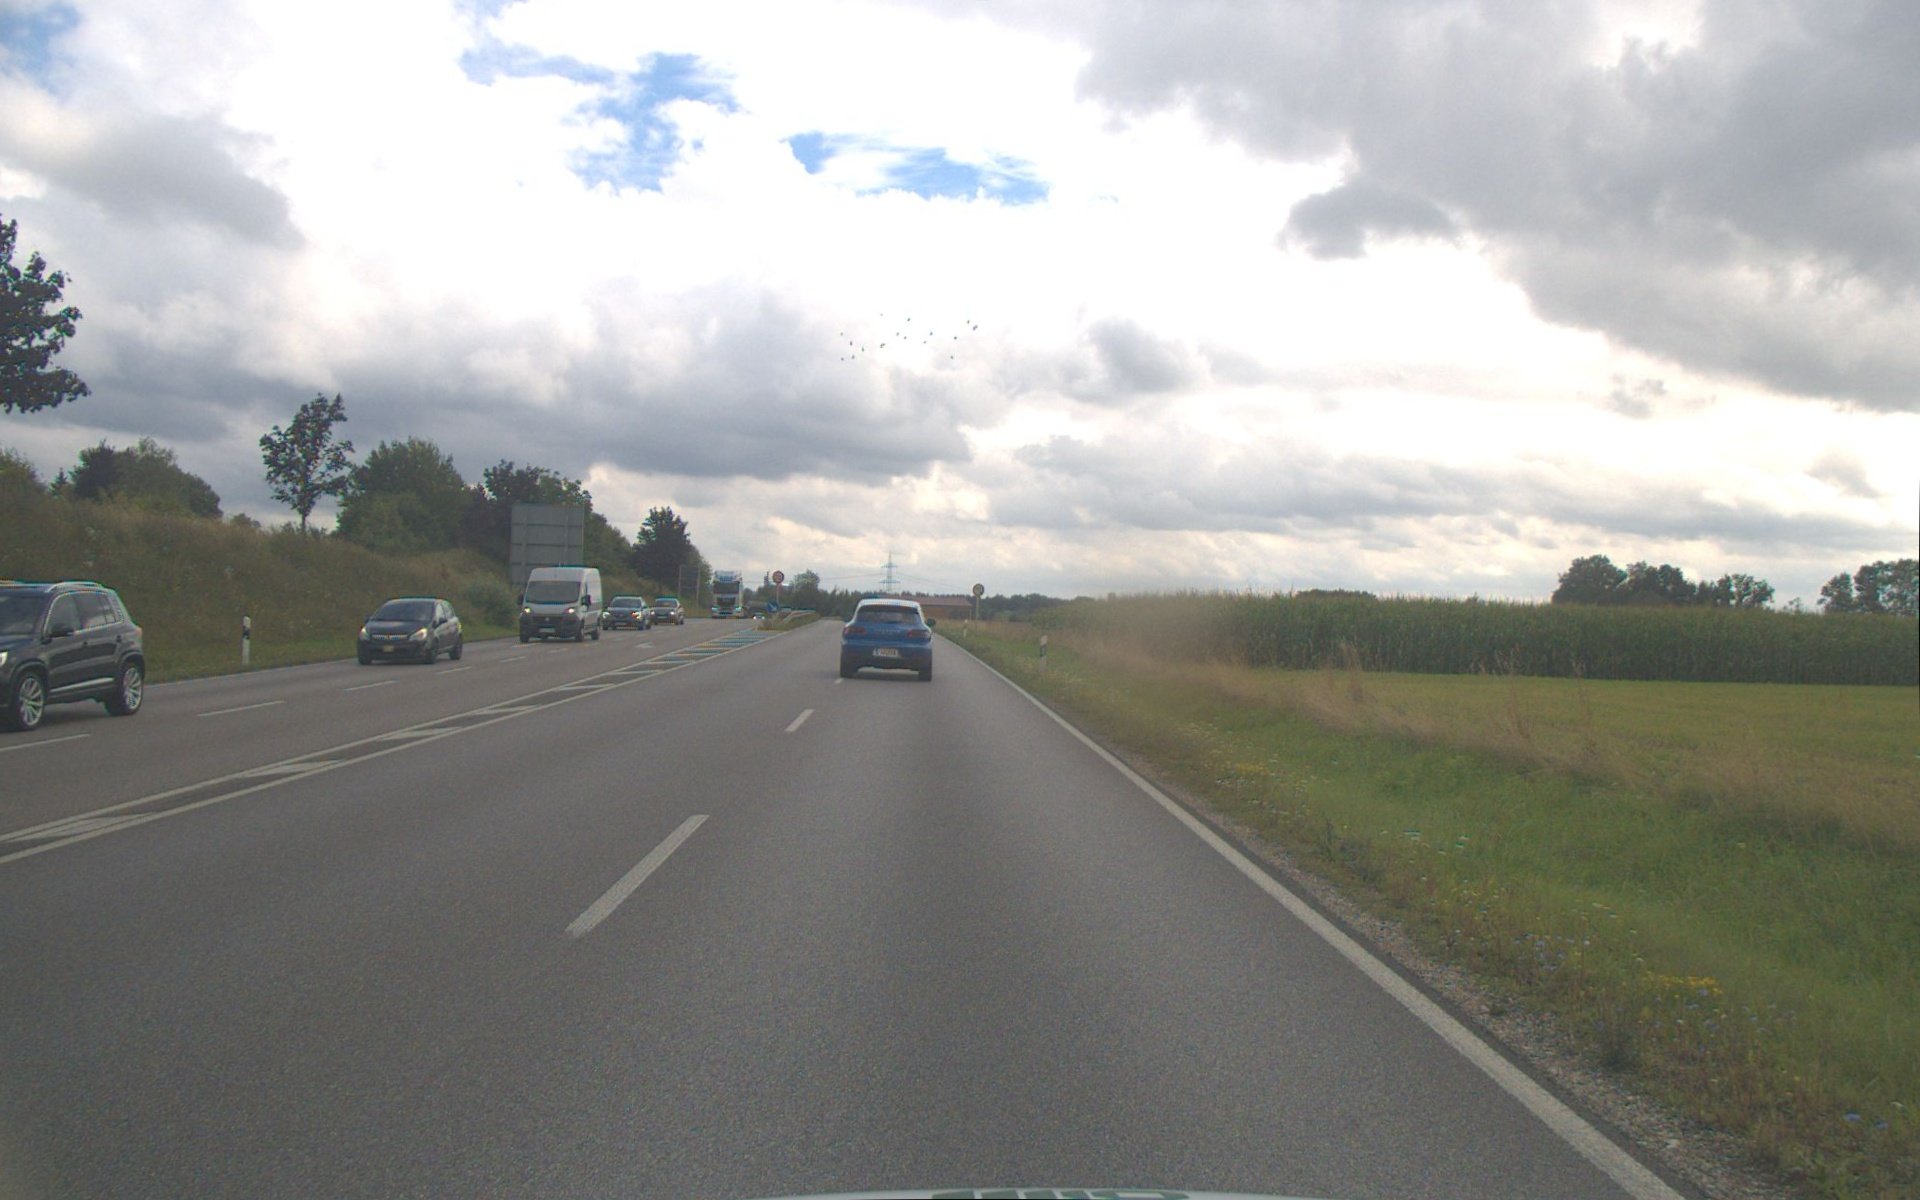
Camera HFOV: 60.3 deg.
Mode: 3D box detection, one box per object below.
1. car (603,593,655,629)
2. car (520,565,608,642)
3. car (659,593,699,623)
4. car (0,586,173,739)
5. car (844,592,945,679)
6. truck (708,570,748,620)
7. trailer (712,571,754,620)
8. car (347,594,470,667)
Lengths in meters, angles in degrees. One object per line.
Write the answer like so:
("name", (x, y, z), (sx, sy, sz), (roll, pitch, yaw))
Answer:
("car", (-14.871, 0.478, 74.564), (1.698, 1.557, 4.545), (0, 0, -4))
("car", (-13.414, 0.088, 56.356), (1.993, 2.482, 5.631), (0, 0, -4))
("car", (-15.346, 0.426, 90.448), (1.698, 1.557, 4.190), (0, 0, -4))
("car", (-11.338, 0.669, 19.801), (1.758, 1.663, 4.514), (0, 0, -2))
("car", (-1.451, 0.715, 35.153), (1.993, 1.689, 4.539), (1, 0, -4))
("truck", (-19.536, -0.411, 139.529), (2.747, 4.067, 5.283), (2, 0, -4))
("trailer", (-20.011, -0.451, 146.343), (2.720, 4.016, 12.975), (2, 0, -4))
("car", (-12.752, 0.665, 38.507), (1.698, 1.557, 4.191), (0, 0, -4))
